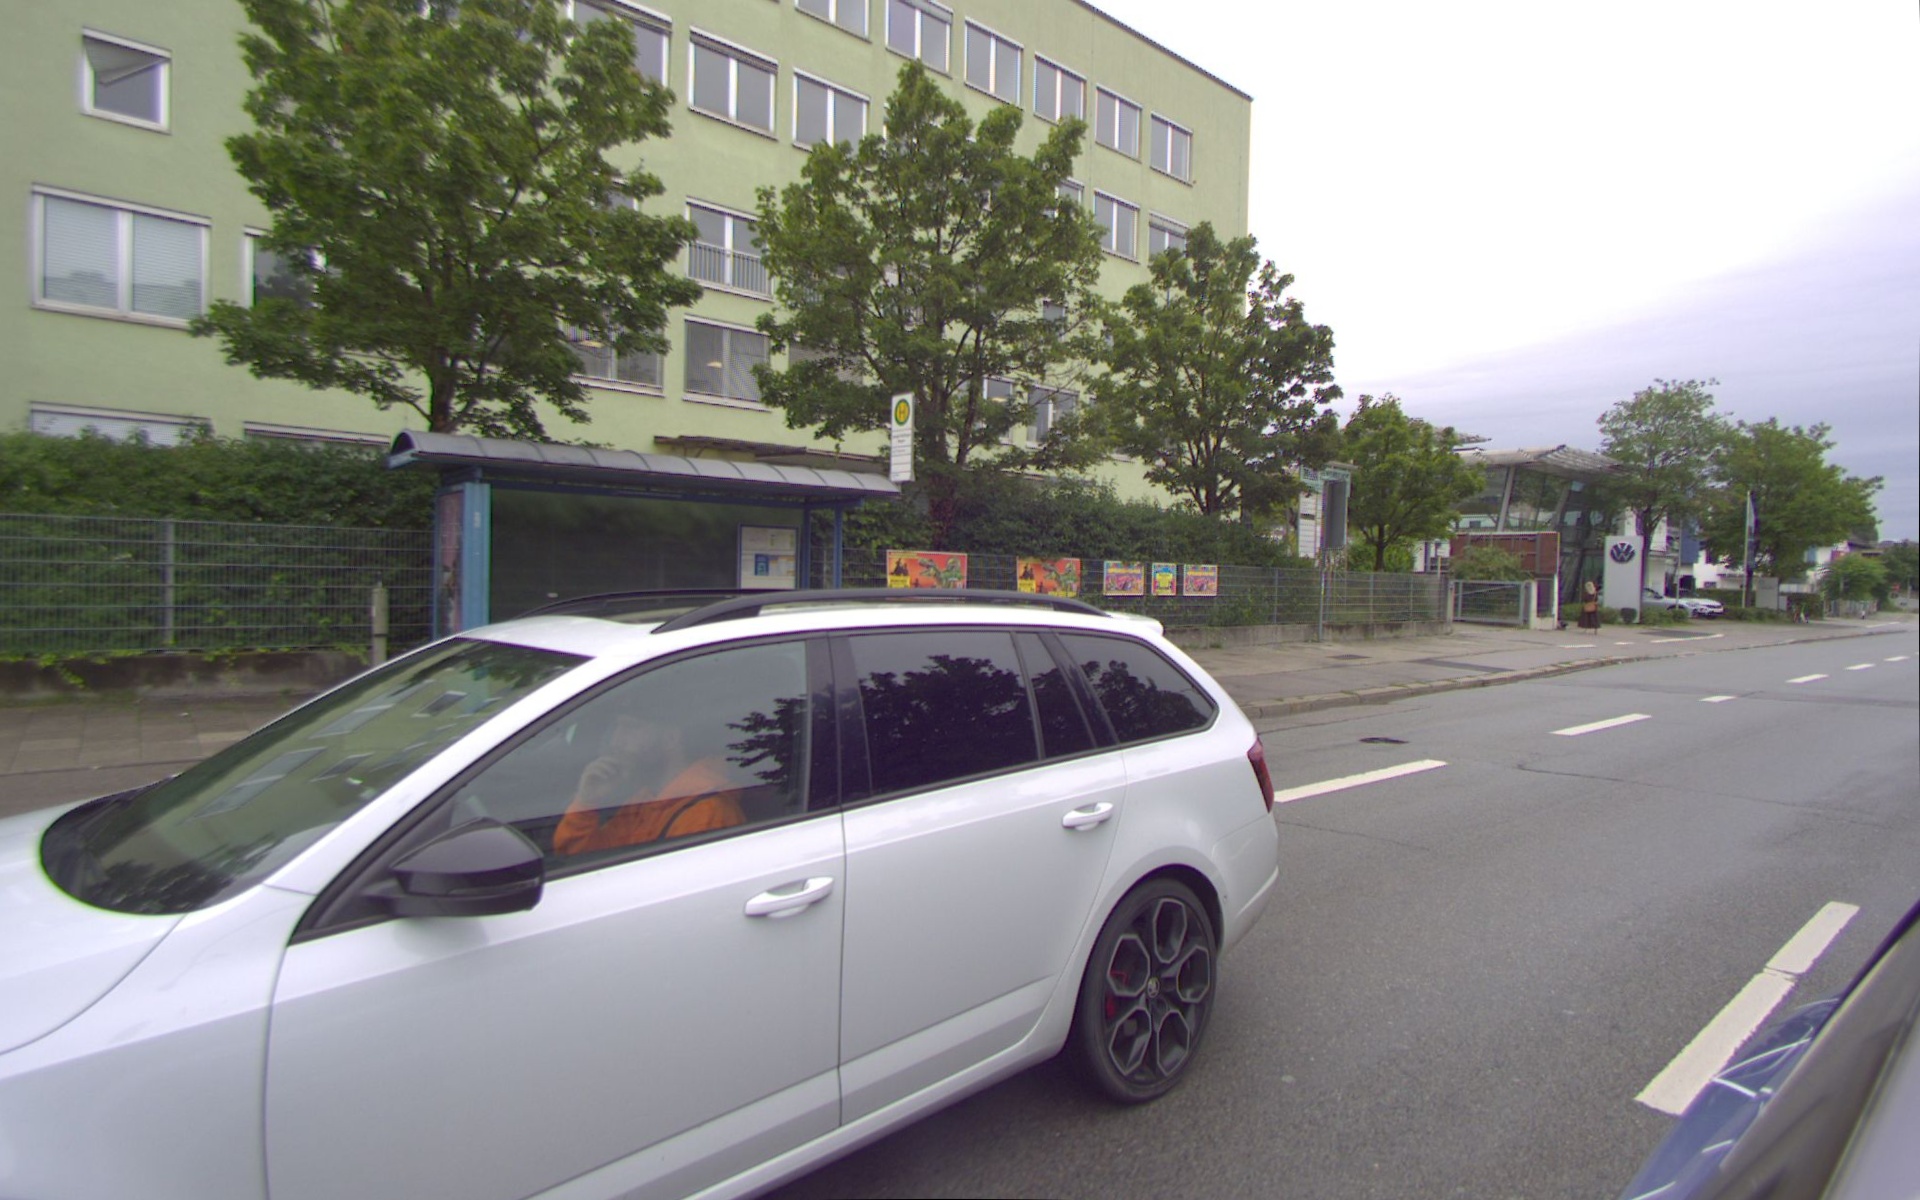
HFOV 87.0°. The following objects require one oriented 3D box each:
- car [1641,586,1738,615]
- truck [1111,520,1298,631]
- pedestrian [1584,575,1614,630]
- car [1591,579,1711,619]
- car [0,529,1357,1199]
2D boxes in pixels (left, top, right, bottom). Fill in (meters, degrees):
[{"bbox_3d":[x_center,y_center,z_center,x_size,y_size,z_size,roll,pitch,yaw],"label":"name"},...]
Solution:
[{"bbox_3d":[39.689,0.011,55.139,1.763,1.528,4.009,0,1,-19],"label":"car"},{"bbox_3d":[6.722,-0.627,27.531,5.202,2.782,2.000,0,0,-35],"label":"truck"},{"bbox_3d":[21.665,0.064,34.322,0.676,1.844,0.682,0,0,-41],"label":"pedestrian"},{"bbox_3d":[33.432,-0.061,49.137,4.603,1.865,1.784,1,1,28],"label":"car"},{"bbox_3d":[-0.811,0.634,2.935,4.424,1.486,1.881,0,1,-42],"label":"car"}]
